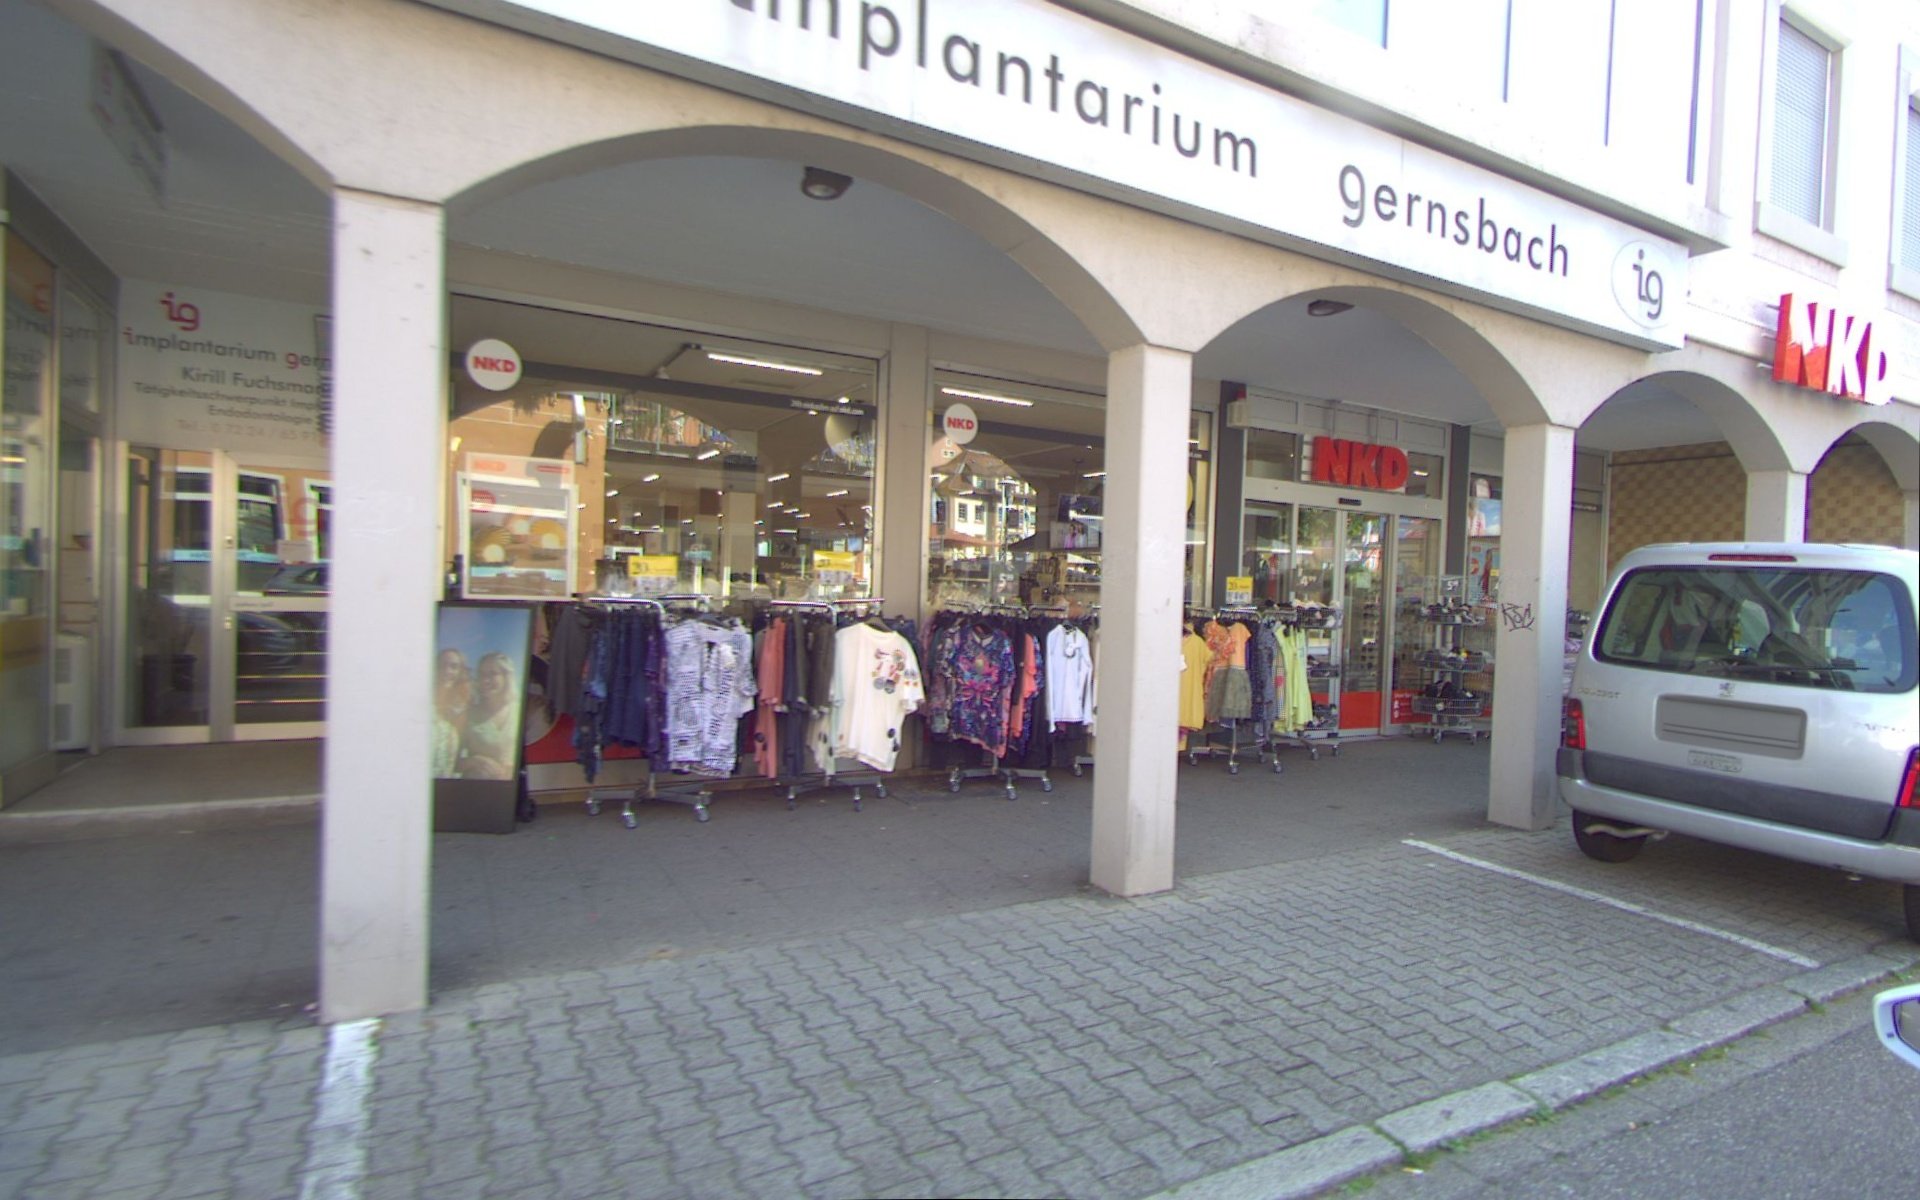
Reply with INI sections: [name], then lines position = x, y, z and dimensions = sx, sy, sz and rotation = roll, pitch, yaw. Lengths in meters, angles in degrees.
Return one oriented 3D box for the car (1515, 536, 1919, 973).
[car]
position = 5.239, 0.614, 5.796
dimensions = 4.099, 1.763, 1.697
rotation = 1, 2, -31
